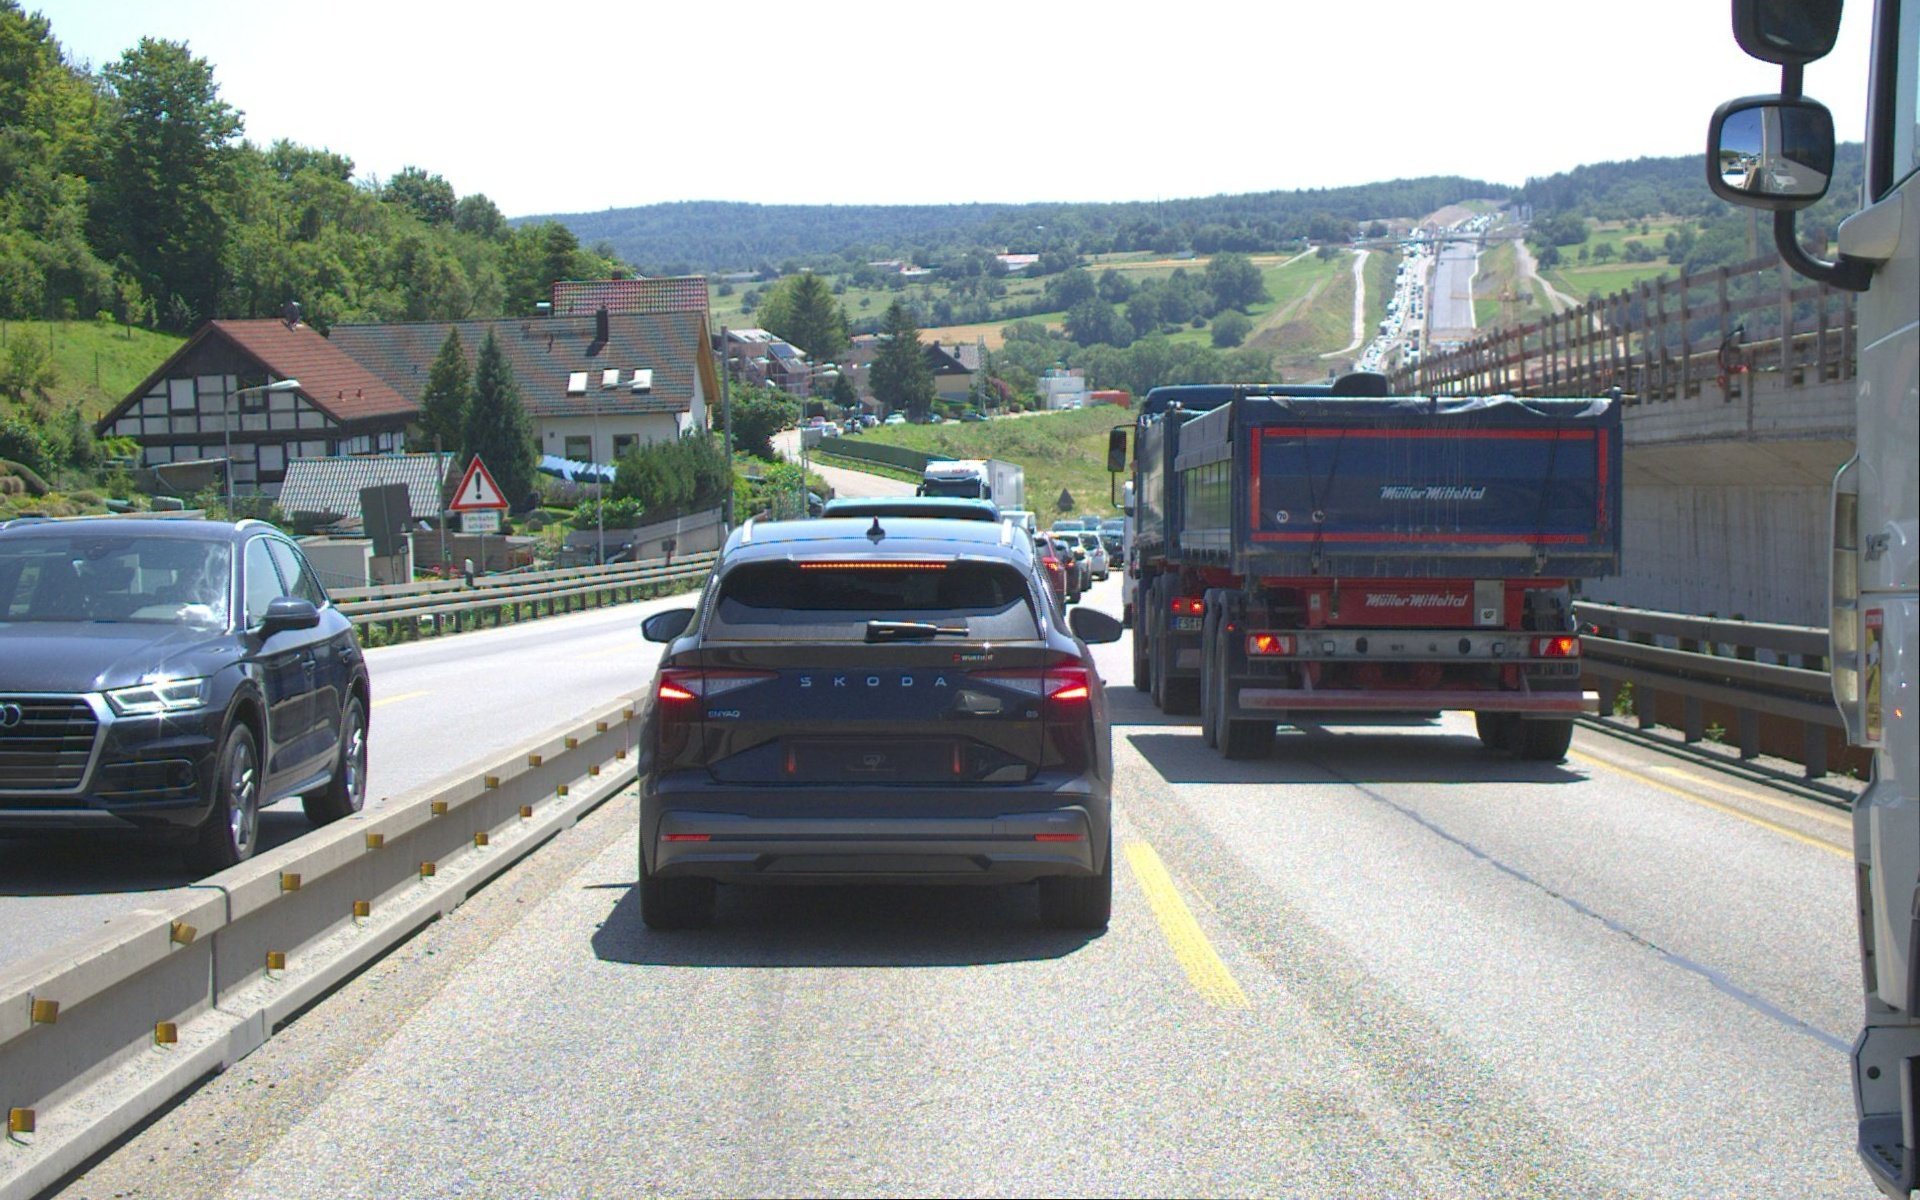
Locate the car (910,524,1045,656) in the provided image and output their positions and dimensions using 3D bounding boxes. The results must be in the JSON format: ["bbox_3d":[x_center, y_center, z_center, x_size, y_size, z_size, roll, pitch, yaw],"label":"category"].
[{"bbox_3d":[0.198,-0.175,46.471,1.707,1.616,4.001,1,2,-1],"label":"car"}]

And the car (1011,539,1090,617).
[{"bbox_3d":[2.103,-0.528,78.678,1.707,1.616,4.000,1,2,3],"label":"car"}]

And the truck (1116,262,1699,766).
[{"bbox_3d":[3.134,-0.614,28.277,3.195,3.180,12.809,0,1,0],"label":"truck"}]

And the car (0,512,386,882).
[{"bbox_3d":[-4.152,0.394,17.042,1.917,1.590,4.528,0,1,-1],"label":"car"}]

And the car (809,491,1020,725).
[{"bbox_3d":[-0.403,0.003,30.296,1.707,1.875,4.001,1,2,-1],"label":"car"}]

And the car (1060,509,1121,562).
[{"bbox_3d":[4.412,-2.171,115.919,1.701,1.722,3.835,1,1,7],"label":"car"}]

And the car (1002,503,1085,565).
[{"bbox_3d":[2.211,-1.719,90.223,1.994,1.579,3.836,1,1,4],"label":"car"}]

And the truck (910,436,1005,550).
[{"bbox_3d":[-0.050,-4.218,137.991,3.303,4.347,8.300,1,1,3],"label":"truck"}]

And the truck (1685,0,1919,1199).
[{"bbox_3d":[2.840,-0.674,2.819,2.513,4.011,8.238,1,1,-1],"label":"truck"}]

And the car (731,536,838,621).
[{"bbox_3d":[-3.134,-0.410,61.836,1.747,1.421,3.710,0,2,0],"label":"car"}]

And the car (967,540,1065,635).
[{"bbox_3d":[1.086,-0.263,64.911,1.707,1.616,4.000,1,2,3],"label":"car"}]

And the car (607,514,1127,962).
[{"bbox_3d":[-0.365,0.474,14.289,1.842,1.581,3.908,1,1,-1],"label":"car"}]

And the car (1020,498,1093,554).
[{"bbox_3d":[2.894,-2.190,102.478,1.994,1.579,3.836,1,1,4],"label":"car"}]
